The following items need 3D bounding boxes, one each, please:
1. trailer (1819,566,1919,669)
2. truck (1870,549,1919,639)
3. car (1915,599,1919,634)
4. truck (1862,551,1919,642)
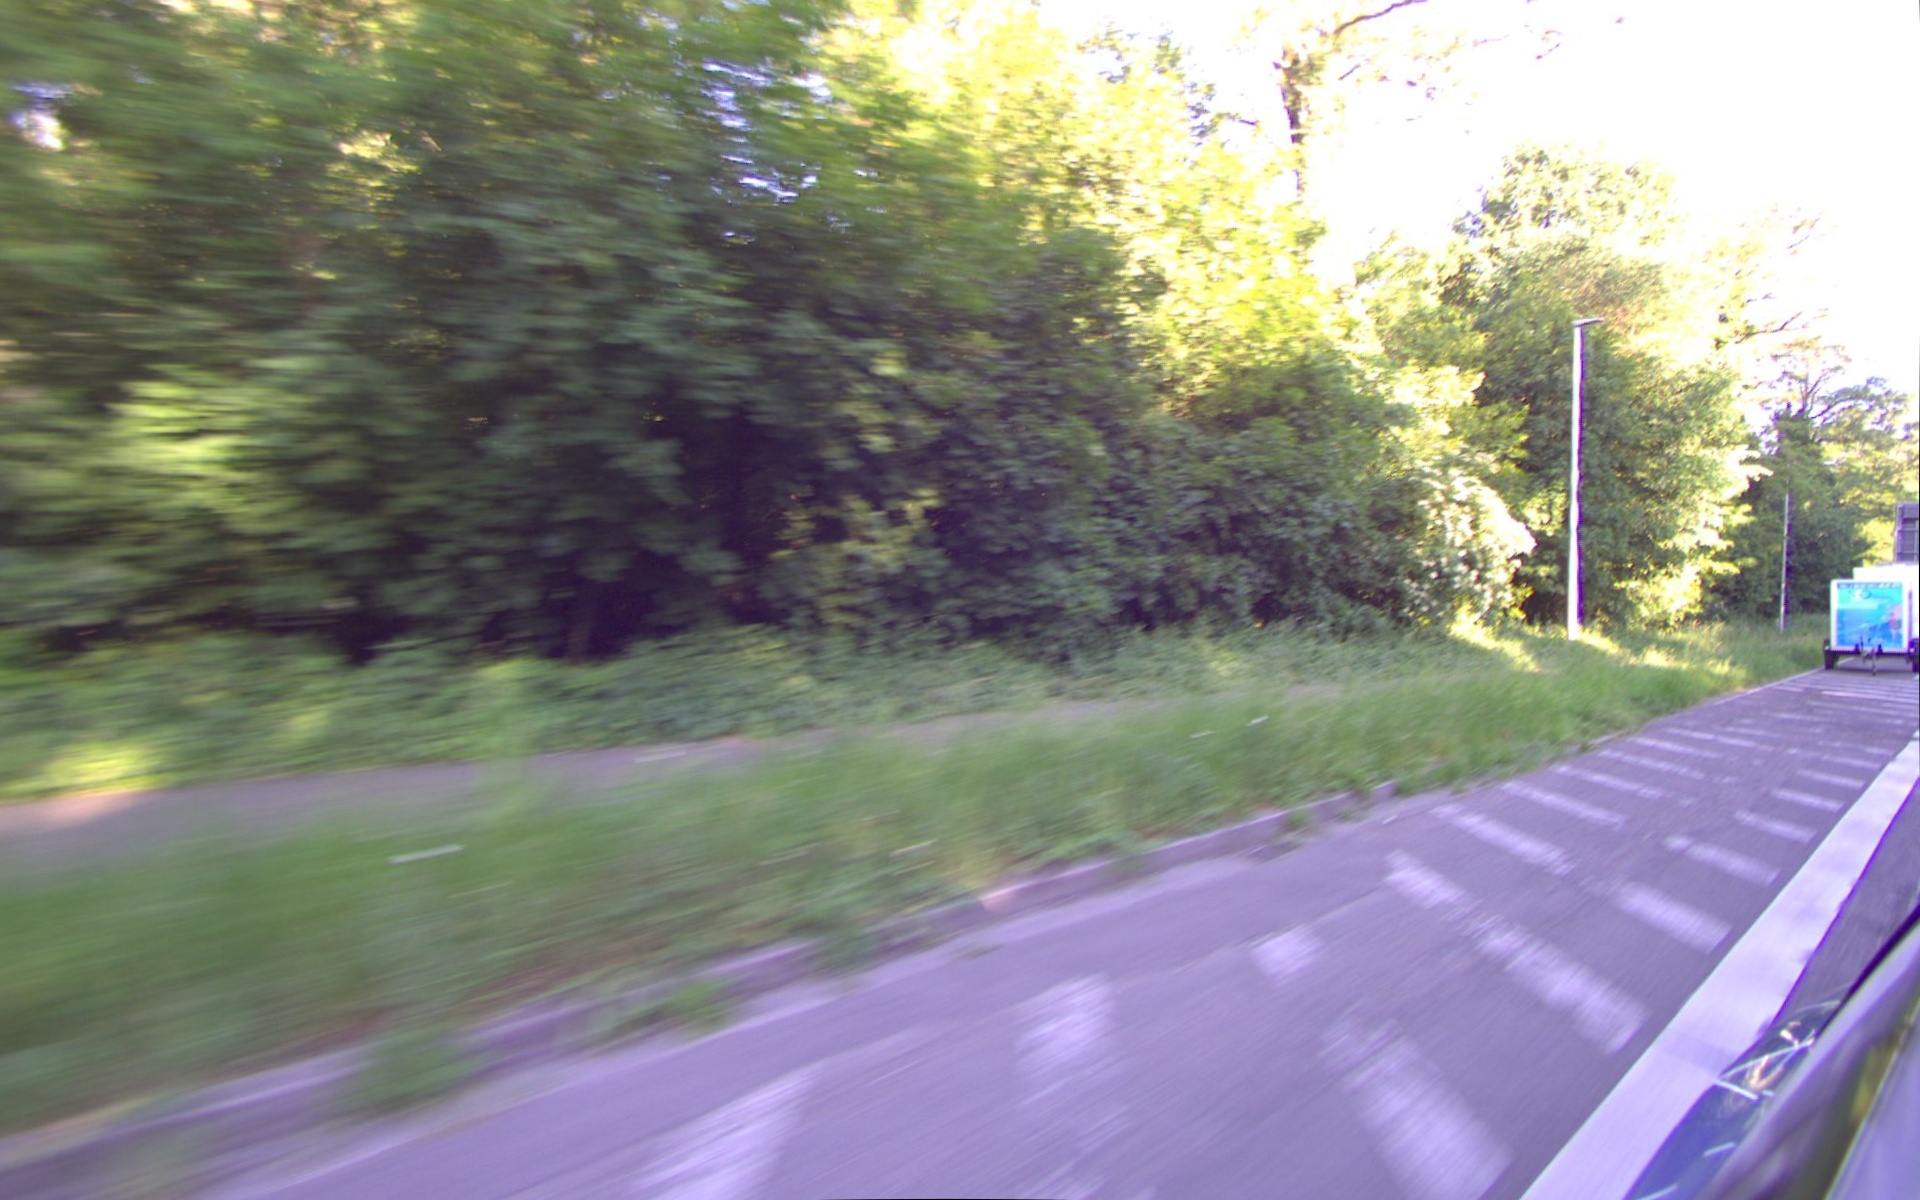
[{"bbox_3d":[21.508,0.358,23.596,4.061,2.205,1.866,0,0,-44],"label":"trailer"},{"bbox_3d":[37.750,-0.210,39.507,7.011,3.277,2.702,0,3,-44],"label":"truck"},{"bbox_3d":[42.856,0.755,43.961,3.848,1.482,1.804,0,3,-44],"label":"car"},{"bbox_3d":[32.293,-0.117,34.106,5.506,2.908,2.385,0,-1,-44],"label":"truck"}]
